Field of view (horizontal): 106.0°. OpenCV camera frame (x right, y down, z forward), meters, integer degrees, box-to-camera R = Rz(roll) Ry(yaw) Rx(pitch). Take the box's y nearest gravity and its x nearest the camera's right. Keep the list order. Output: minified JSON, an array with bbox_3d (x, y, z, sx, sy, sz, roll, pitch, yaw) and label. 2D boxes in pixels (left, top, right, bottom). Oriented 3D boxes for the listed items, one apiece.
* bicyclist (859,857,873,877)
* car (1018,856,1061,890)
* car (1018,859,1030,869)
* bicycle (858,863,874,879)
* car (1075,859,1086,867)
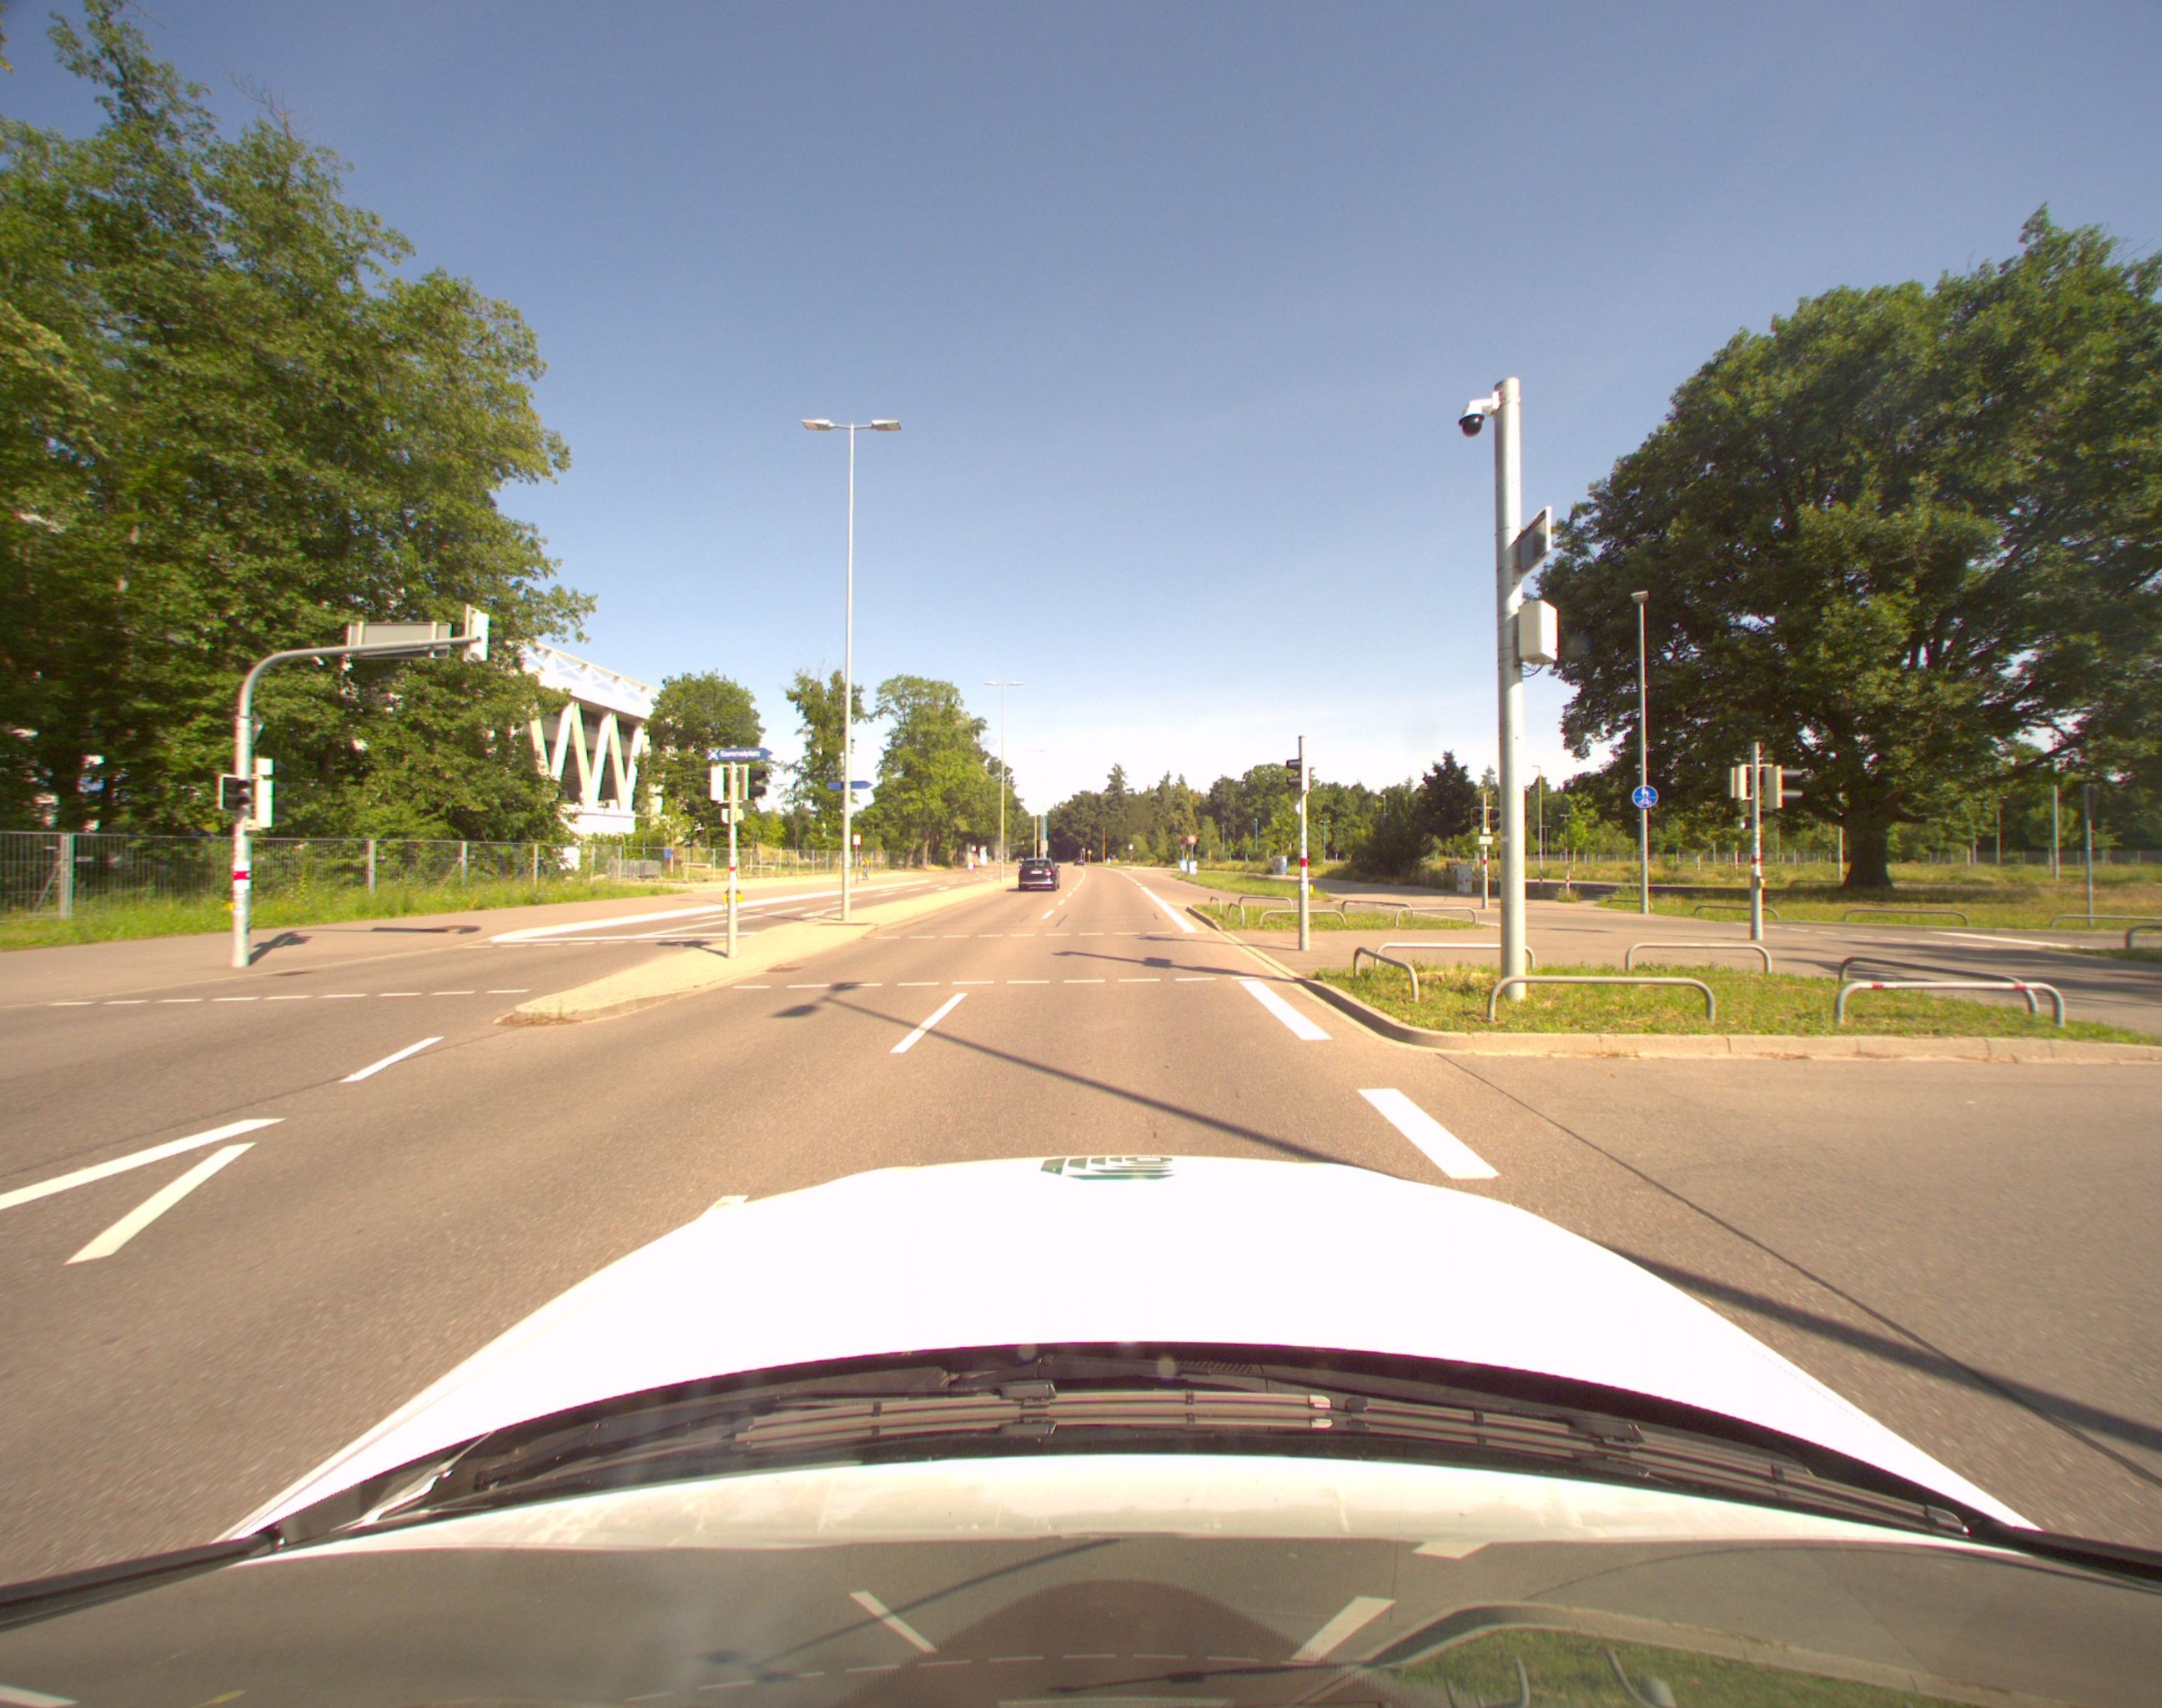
[{"bbox_3d":[-15.829,0.927,59.926,0.657,1.467,1.057,1,0,1],"label":"bicyclist"},{"bbox_3d":[-1.965,0.903,39.802,1.681,1.544,4.150,-1,0,2],"label":"car"},{"bbox_3d":[-9.271,1.616,132.037,1.807,1.388,4.156,-2,0,-3],"label":"car"},{"bbox_3d":[-15.836,1.226,60.028,0.657,1.136,1.879,1,0,1],"label":"bicycle"},{"bbox_3d":[-0.124,1.634,150.936,1.937,1.420,4.287,0,0,-4],"label":"car"}]
